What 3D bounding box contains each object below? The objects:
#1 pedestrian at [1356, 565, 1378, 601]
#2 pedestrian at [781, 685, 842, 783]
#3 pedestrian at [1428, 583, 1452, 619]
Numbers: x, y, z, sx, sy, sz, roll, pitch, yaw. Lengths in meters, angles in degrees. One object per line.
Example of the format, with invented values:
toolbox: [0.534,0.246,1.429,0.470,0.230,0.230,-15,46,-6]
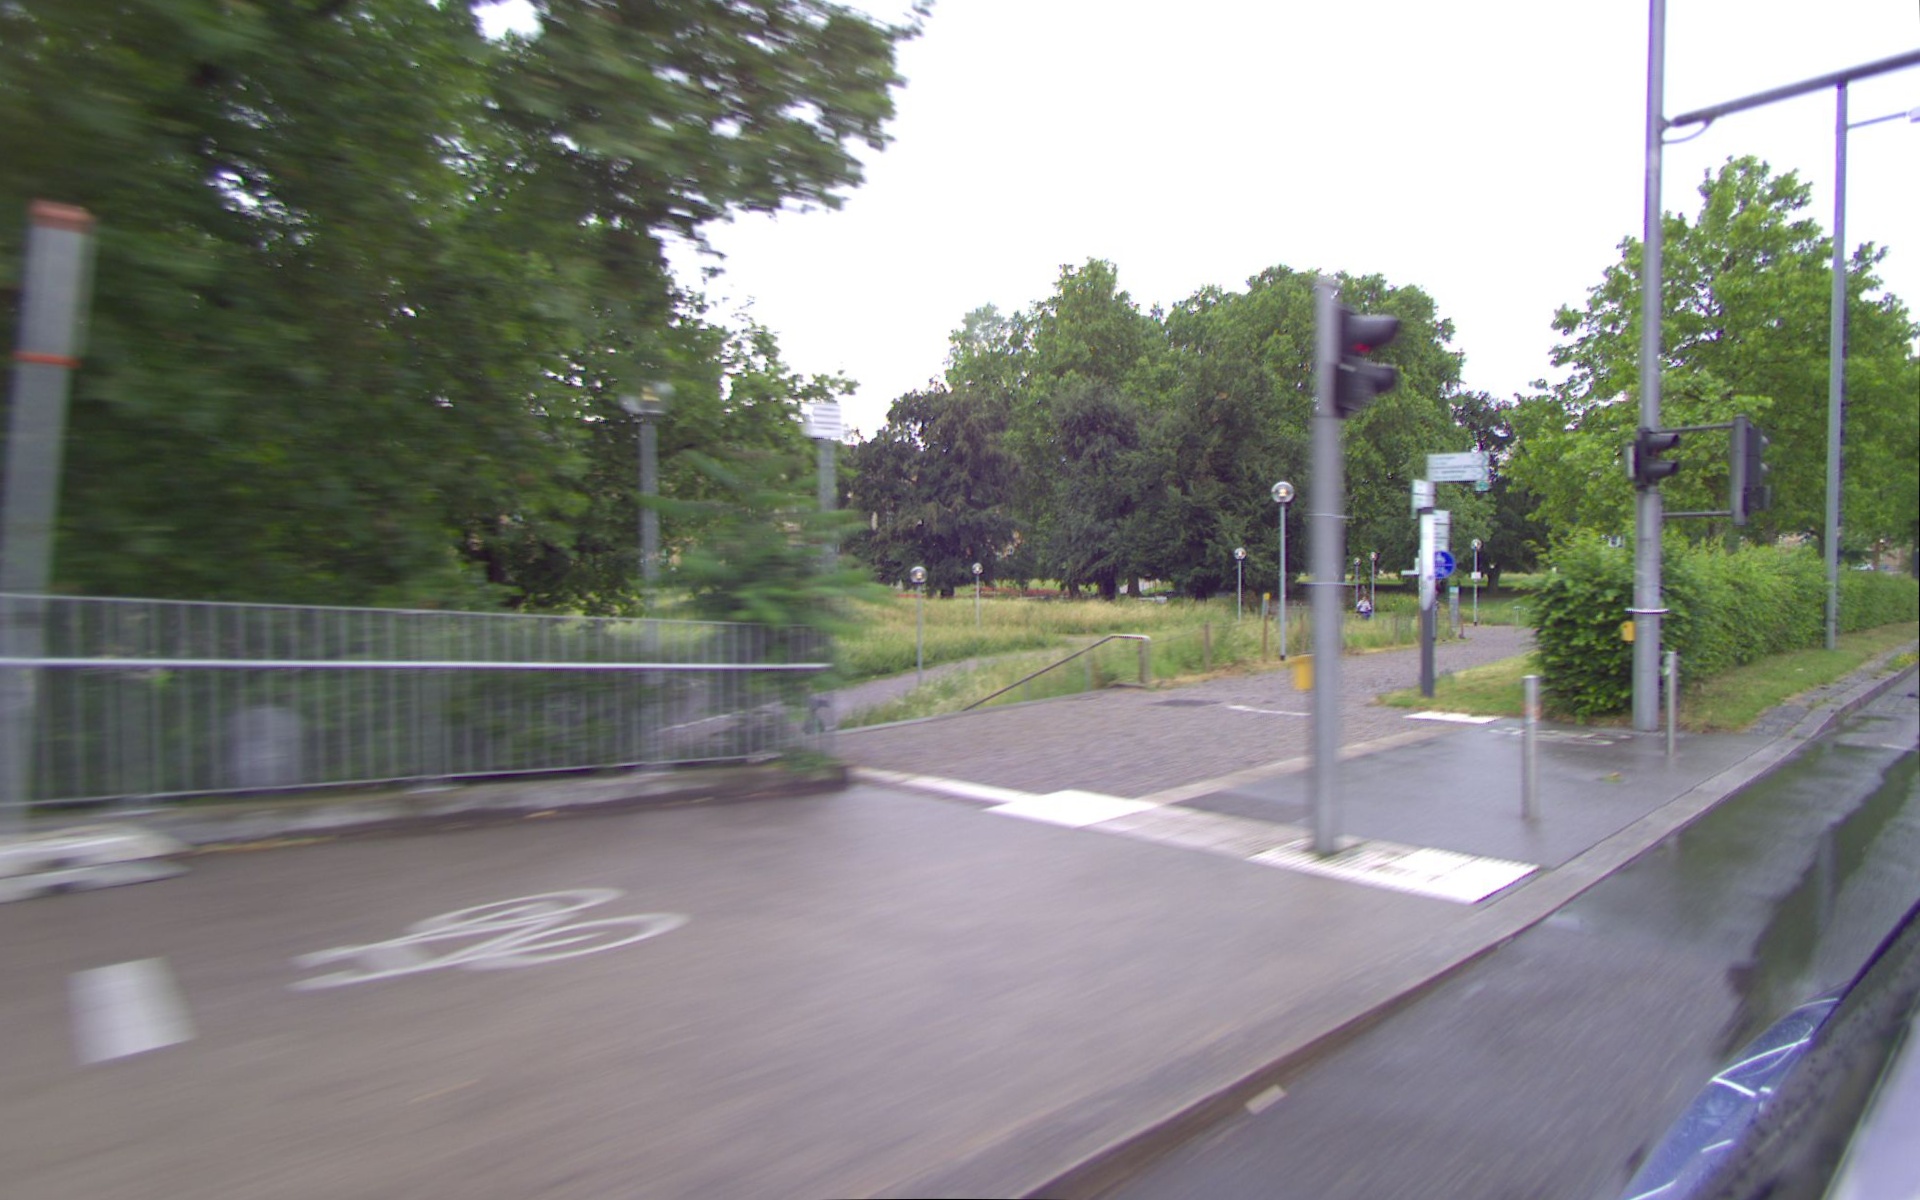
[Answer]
pedestrian: [18.527,-0.760,46.039,0.722,1.588,0.664,-2,2,39]
pedestrian: [-3.223,2.875,21.933,1.006,1.874,0.950,-3,2,-23]
pedestrian: [22.059,0.036,46.534,0.712,1.588,0.673,-4,2,-33]
